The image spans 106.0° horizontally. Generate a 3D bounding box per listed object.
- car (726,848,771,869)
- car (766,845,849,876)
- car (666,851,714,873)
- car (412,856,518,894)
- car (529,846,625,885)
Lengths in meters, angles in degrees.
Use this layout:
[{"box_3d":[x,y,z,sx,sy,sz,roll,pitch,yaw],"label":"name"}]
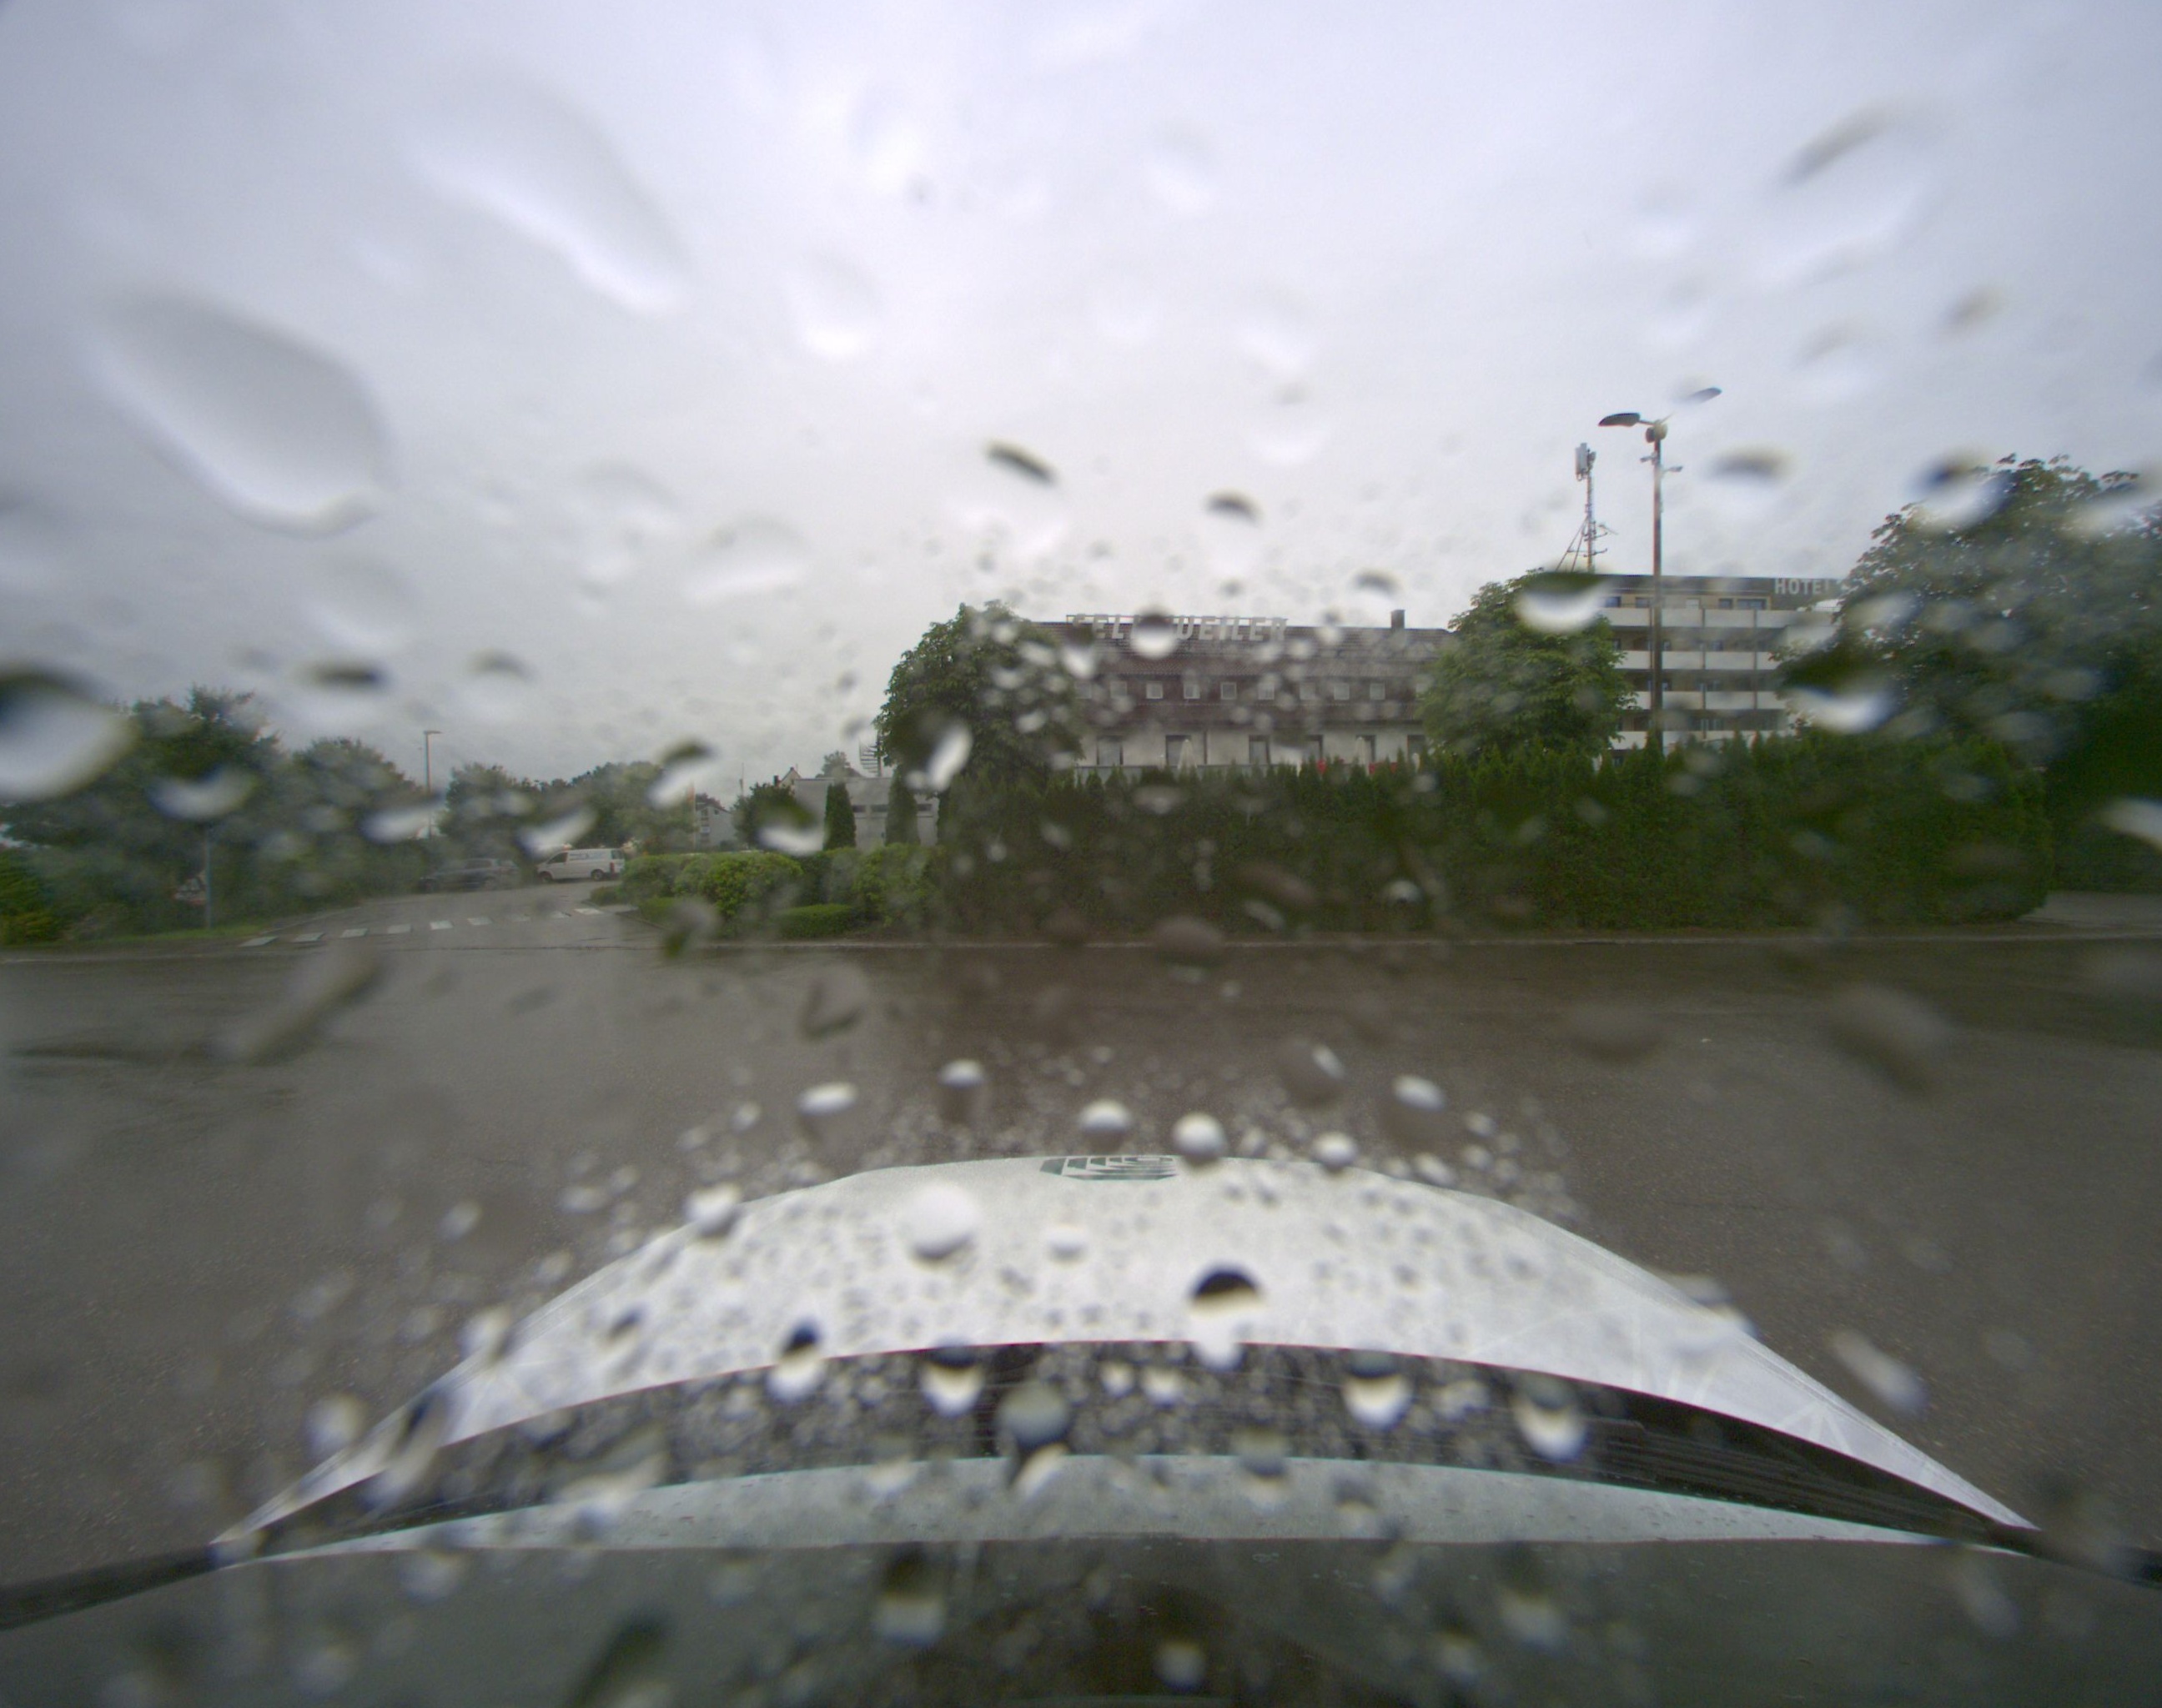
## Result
[{"box_3d":[-26.040,0.375,63.756,3.632,1.458,1.596,-1,2,36],"label":"car"},{"box_3d":[-15.607,0.364,46.594,4.173,1.497,1.713,-3,1,-8],"label":"car"},{"box_3d":[-28.454,0.613,59.205,3.632,1.458,1.596,-1,2,36],"label":"car"},{"box_3d":[-29.297,0.978,38.830,3.729,1.550,1.447,-3,1,-8],"label":"car"},{"box_3d":[-30.134,0.670,48.829,4.517,2.033,1.641,-3,1,-8],"label":"car"}]
